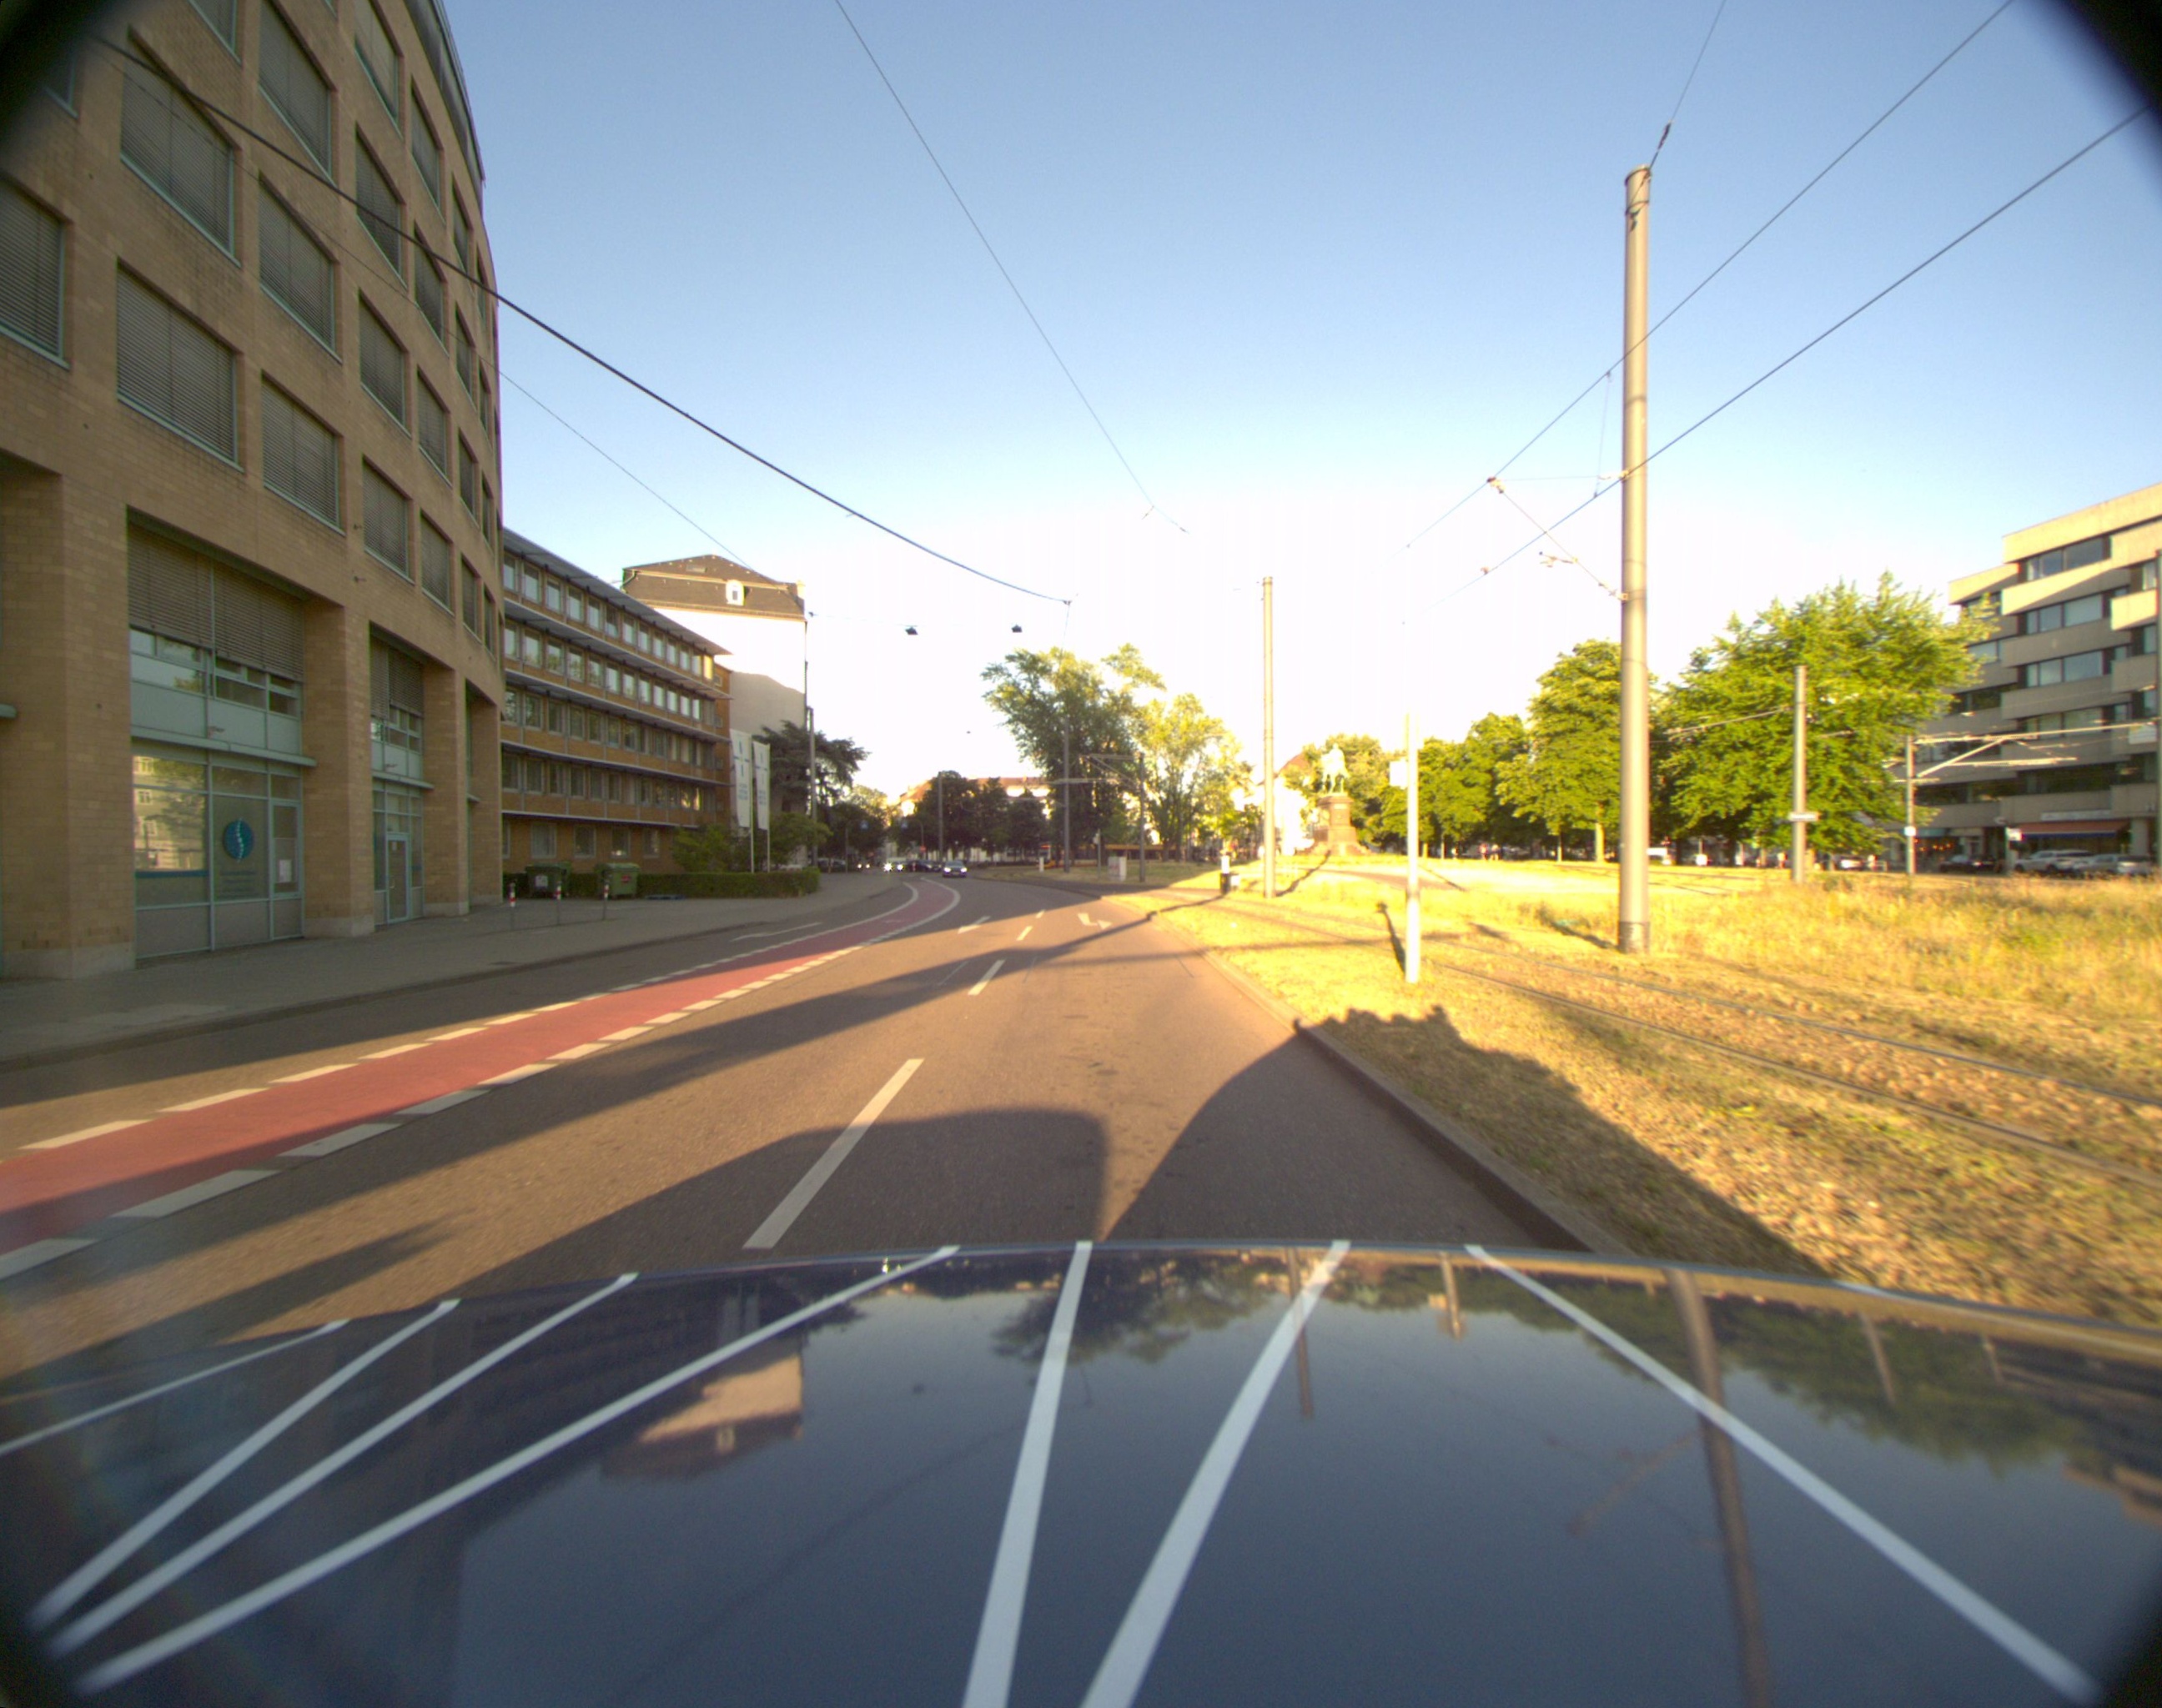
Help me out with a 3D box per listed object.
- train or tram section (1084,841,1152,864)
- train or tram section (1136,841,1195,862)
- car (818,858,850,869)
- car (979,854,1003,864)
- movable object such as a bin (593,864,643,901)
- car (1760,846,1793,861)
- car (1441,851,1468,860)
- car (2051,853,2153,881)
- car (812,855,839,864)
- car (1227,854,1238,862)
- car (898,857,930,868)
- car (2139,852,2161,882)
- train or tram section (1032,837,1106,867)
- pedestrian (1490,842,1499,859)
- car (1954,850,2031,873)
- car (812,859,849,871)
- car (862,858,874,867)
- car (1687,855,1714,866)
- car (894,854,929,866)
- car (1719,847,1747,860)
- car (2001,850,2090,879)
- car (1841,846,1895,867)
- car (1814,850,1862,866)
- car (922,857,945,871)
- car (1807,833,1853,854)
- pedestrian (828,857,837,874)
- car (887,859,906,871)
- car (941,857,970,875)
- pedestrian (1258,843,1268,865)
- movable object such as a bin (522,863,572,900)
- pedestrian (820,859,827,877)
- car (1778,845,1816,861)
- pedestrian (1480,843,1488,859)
[{"bbox_3d":[5.471,-0.290,107.638,2.924,3.123,12.882,0,1,36],"label":"train or tram section"},{"bbox_3d":[13.232,-0.404,117.781,2.917,3.123,12.671,0,1,38],"label":"train or tram section"},{"bbox_3d":[-32.876,1.266,101.183,4.072,1.560,1.835,0,-1,-19],"label":"car"},{"bbox_3d":[-15.864,0.911,134.374,4.011,1.714,1.701,0,-1,-1],"label":"car"},{"bbox_3d":[-17.998,1.098,29.576,0.972,1.429,1.347,-1,-1,20],"label":"movable object such as a bin"},{"bbox_3d":[79.475,-0.019,86.908,1.793,1.570,4.008,-1,-1,27],"label":"car"},{"bbox_3d":[67.865,0.243,138.216,3.998,1.695,1.859,0,-1,-3],"label":"car"},{"bbox_3d":[58.955,0.753,43.976,1.755,1.542,4.007,-1,-1,24],"label":"car"},{"bbox_3d":[-44.285,0.998,131.738,4.404,1.603,1.726,0,-1,-22],"label":"car"},{"bbox_3d":[34.062,0.900,170.937,1.723,1.542,3.968,0,-1,1],"label":"car"},{"bbox_3d":[-23.513,1.258,107.119,4.067,1.542,1.999,0,-1,-6],"label":"car"},{"bbox_3d":[56.484,0.662,38.350,1.755,1.542,4.007,-1,-1,24],"label":"car"},{"bbox_3d":[-1.272,-0.270,97.267,2.942,3.563,13.392,-1,1,30],"label":"train or tram section"},{"bbox_3d":[38.952,-0.348,71.561,0.619,1.571,0.553,0,-1,2],"label":"pedestrian"},{"bbox_3d":[64.762,0.563,54.081,1.861,1.547,4.076,-1,-1,24],"label":"car"},{"bbox_3d":[-31.804,1.381,96.336,4.403,1.548,1.835,0,-1,-20],"label":"car"},{"bbox_3d":[-35.130,1.402,125.441,1.822,1.473,4.131,-1,-1,-14],"label":"car"},{"bbox_3d":[84.056,0.901,103.136,1.861,1.547,4.076,-1,-1,24],"label":"car"},{"bbox_3d":[-27.113,0.913,121.660,5.077,1.891,2.122,0,-1,2],"label":"car"},{"bbox_3d":[84.247,0.004,98.233,1.793,1.570,4.008,-1,-1,27],"label":"car"},{"bbox_3d":[61.518,0.704,48.565,1.755,1.784,4.217,-1,-1,24],"label":"car"},{"bbox_3d":[70.968,0.233,68.573,1.935,1.784,4.217,-1,-1,24],"label":"car"},{"bbox_3d":[66.645,0.371,66.929,1.707,1.382,4.008,-1,-1,25],"label":"car"},{"bbox_3d":[-15.877,1.080,81.555,1.823,1.473,4.129,0,-1,-19],"label":"car"},{"bbox_3d":[73.425,-1.028,74.532,1.755,1.932,4.217,-1,-1,24],"label":"car"},{"bbox_3d":[-25.020,1.161,76.523,0.591,1.781,0.822,0,-1,11],"label":"pedestrian"},{"bbox_3d":[-22.354,1.320,91.998,1.823,1.473,4.129,0,-1,-19],"label":"car"},{"bbox_3d":[-10.796,1.068,64.920,1.822,1.473,4.129,0,-1,-18],"label":"car"},{"bbox_3d":[13.851,-0.018,57.833,0.476,1.680,0.835,0,0,-14],"label":"pedestrian"},{"bbox_3d":[-21.037,1.078,29.953,1.345,1.415,0.923,0,-1,-7],"label":"movable object such as a bin"},{"bbox_3d":[-24.329,1.306,71.825,0.578,1.699,0.720,0,-1,-17],"label":"pedestrian"},{"bbox_3d":[77.003,-0.068,81.775,1.755,1.653,4.007,-1,-1,24],"label":"car"},{"bbox_3d":[38.174,-0.282,71.914,0.453,1.503,0.553,0,-1,2],"label":"pedestrian"}]
